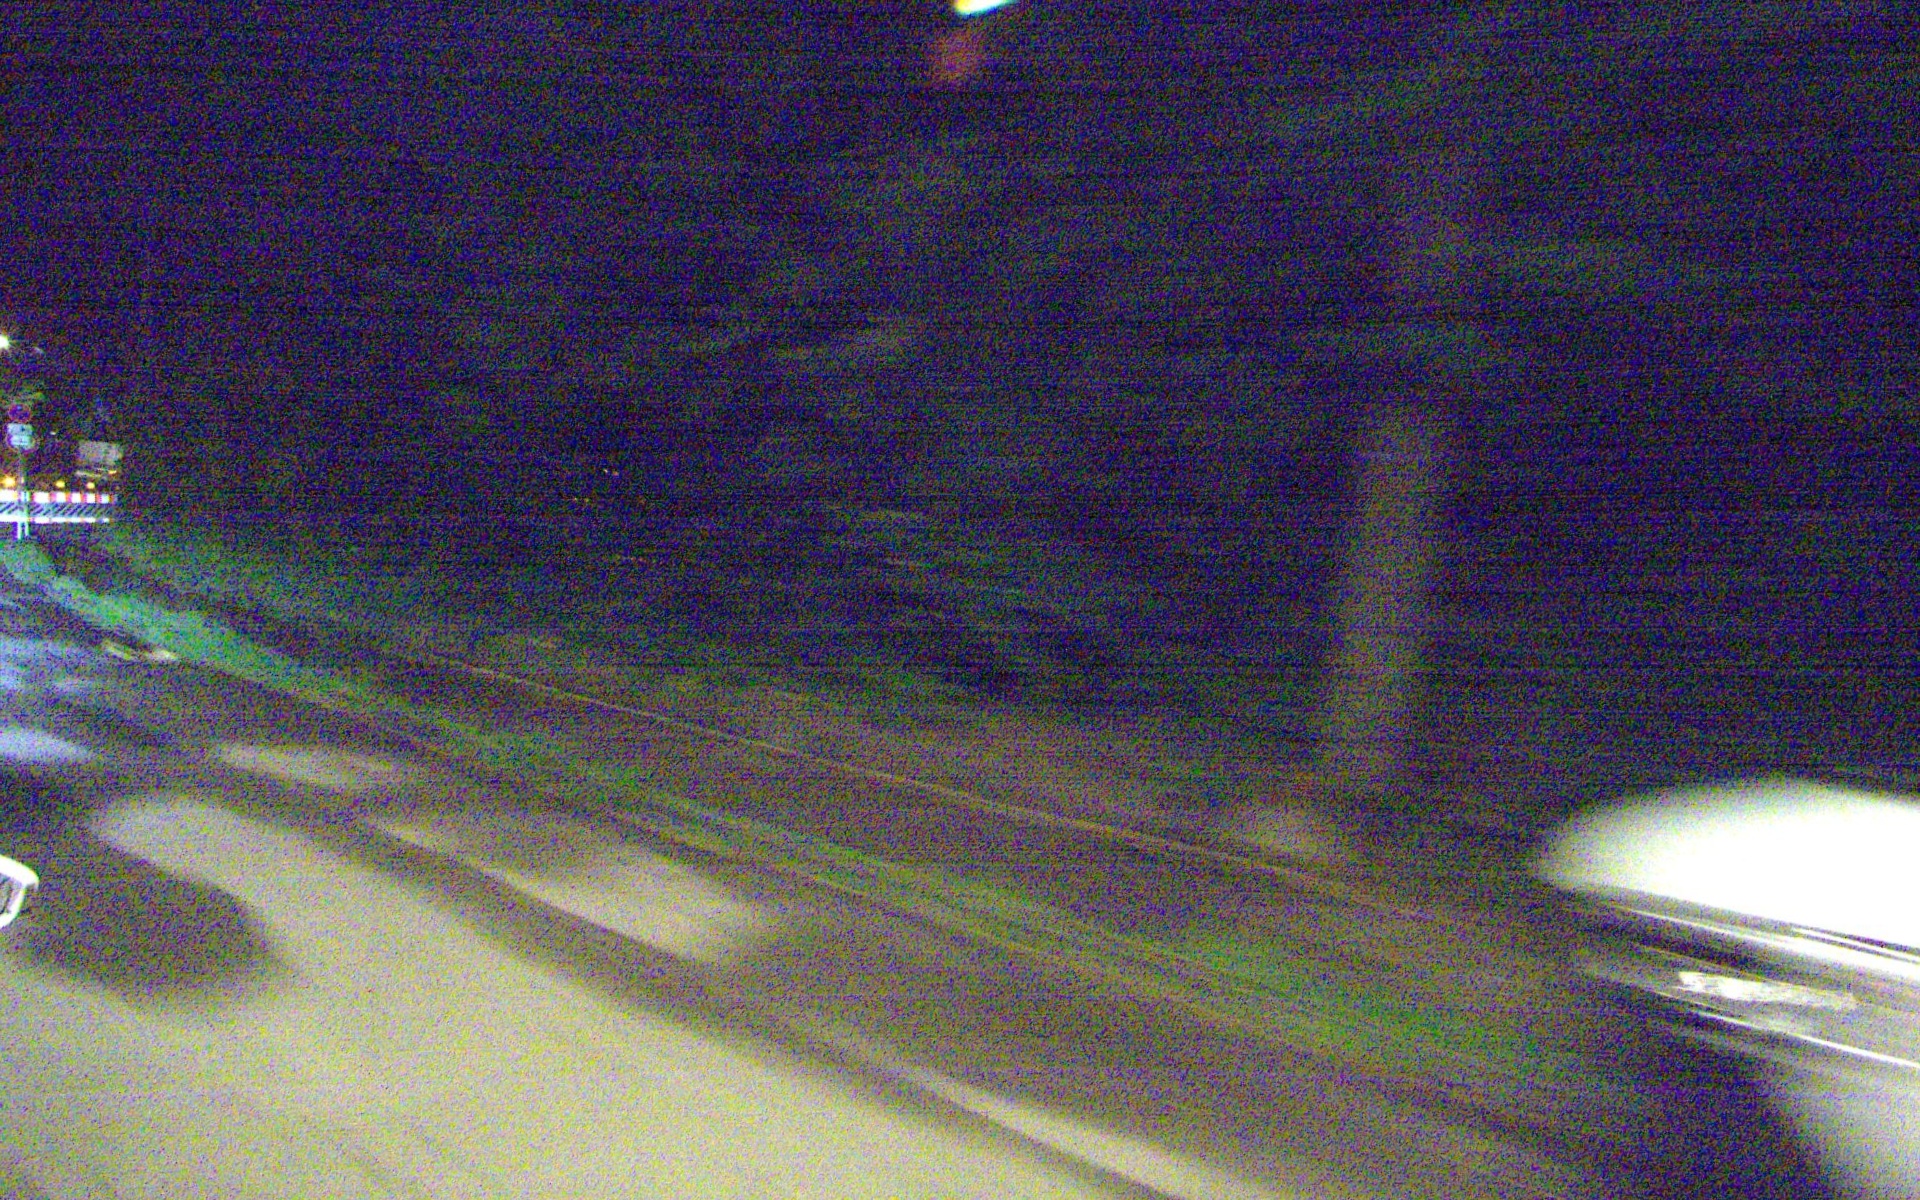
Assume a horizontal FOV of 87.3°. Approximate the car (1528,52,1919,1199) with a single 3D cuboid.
[{"bbox_3d":[4.359,0.828,1.069,6.263,2.547,2.112,8,1,30],"label":"car"}]
